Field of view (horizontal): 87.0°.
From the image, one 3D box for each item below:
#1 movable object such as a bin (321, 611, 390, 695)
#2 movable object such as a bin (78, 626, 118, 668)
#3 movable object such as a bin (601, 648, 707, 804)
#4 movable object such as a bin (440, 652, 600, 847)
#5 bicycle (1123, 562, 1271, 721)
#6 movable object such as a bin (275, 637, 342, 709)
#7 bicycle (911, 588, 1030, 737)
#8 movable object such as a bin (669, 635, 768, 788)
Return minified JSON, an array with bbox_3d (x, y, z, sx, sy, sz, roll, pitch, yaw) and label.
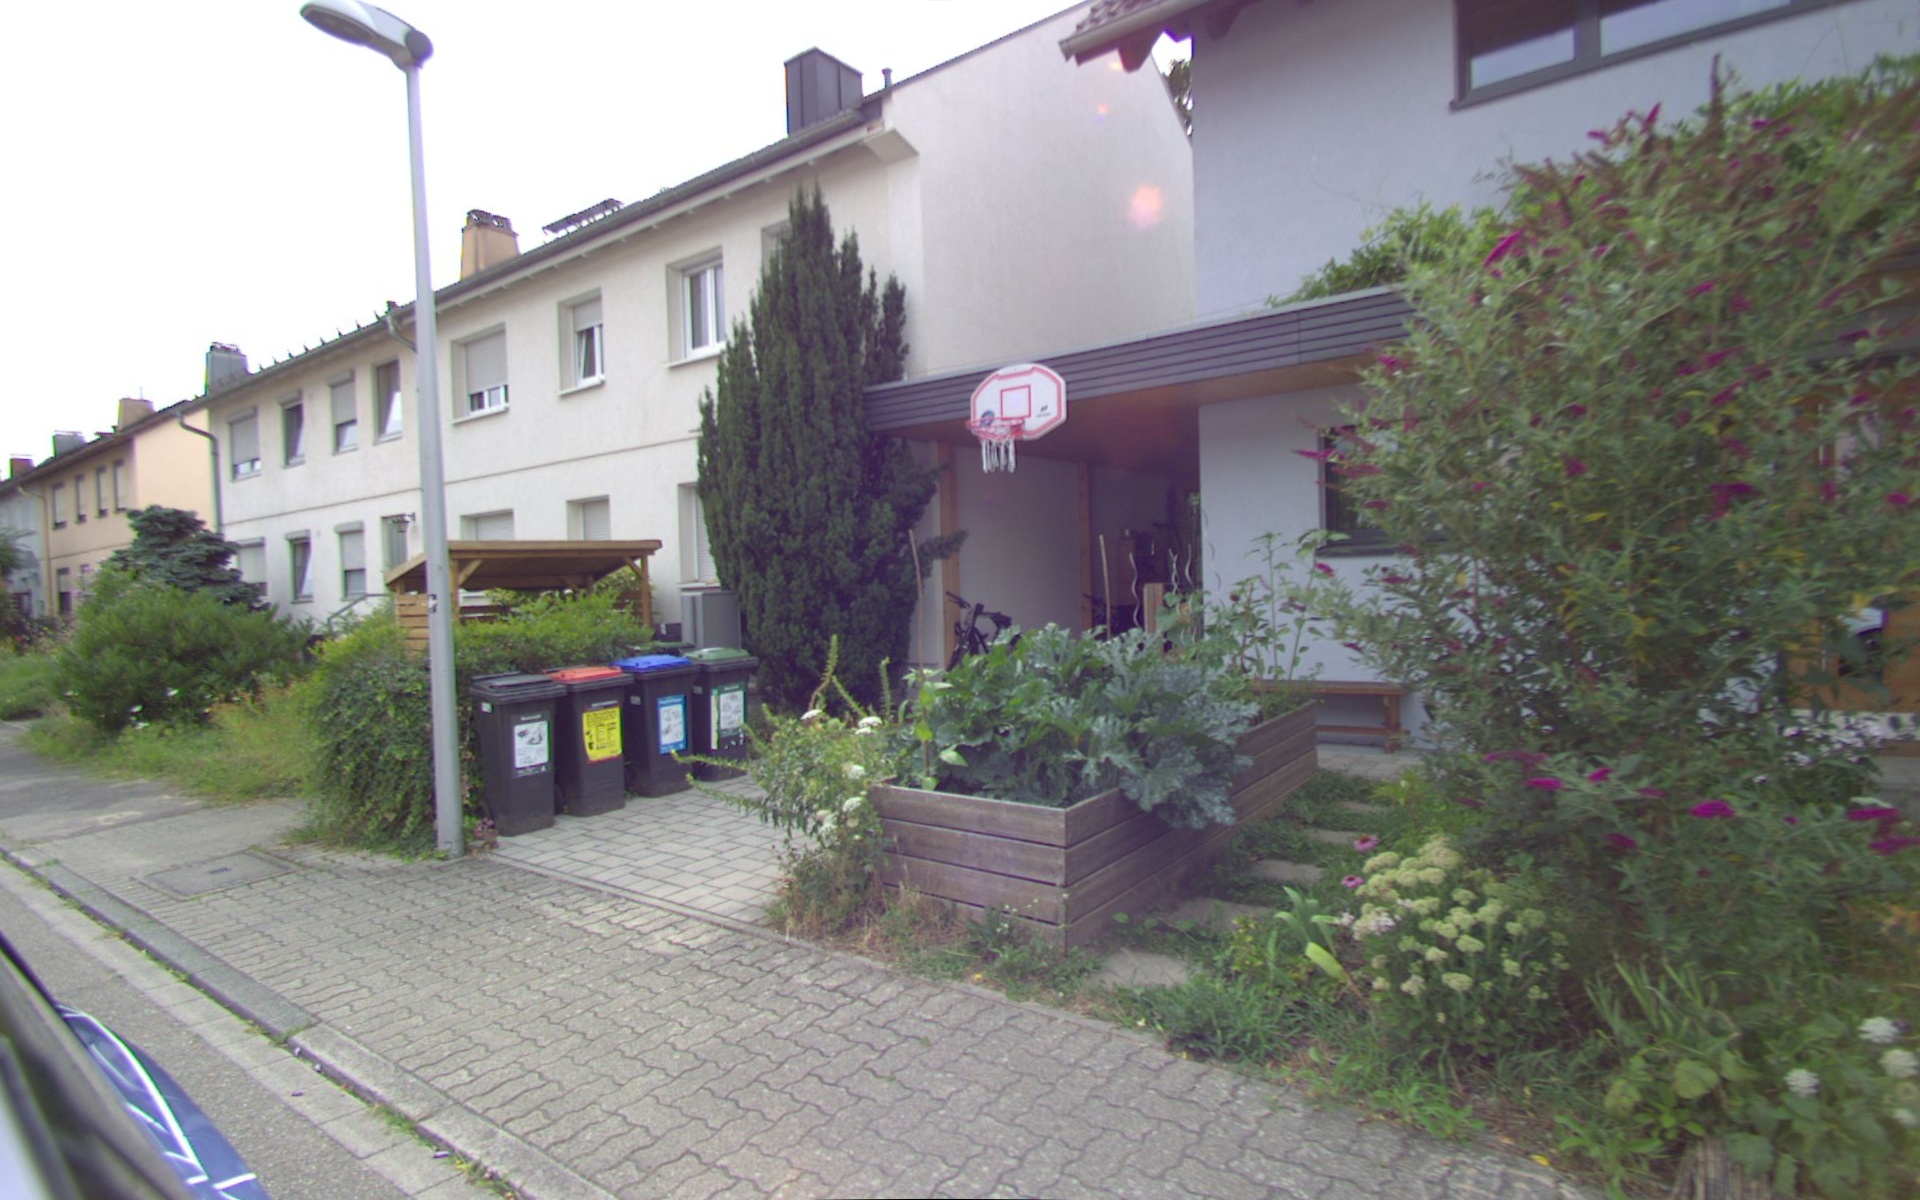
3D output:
[{"bbox_3d":[-9.401,0.812,15.751,0.733,1.249,0.690,-2,-1,38],"label":"movable object such as a bin"},{"bbox_3d":[-21.884,1.191,25.688,0.632,1.029,0.646,-2,0,37],"label":"movable object such as a bin"},{"bbox_3d":[-2.075,0.834,6.875,0.466,0.963,0.462,-1,2,38],"label":"movable object such as a bin"},{"bbox_3d":[-2.673,0.868,6.153,0.664,1.035,0.596,-1,3,39],"label":"movable object such as a bin"},{"bbox_3d":[2.287,0.341,9.573,0.489,1.357,2.069,-1,0,39],"label":"bicycle"},{"bbox_3d":[-9.669,1.065,15.034,0.597,1.015,0.669,-2,-1,38],"label":"movable object such as a bin"},{"bbox_3d":[0.144,0.515,9.328,0.423,1.158,1.799,-1,3,22],"label":"bicycle"},{"bbox_3d":[-1.722,0.776,7.229,0.466,1.011,0.443,-1,2,39],"label":"movable object such as a bin"}]
